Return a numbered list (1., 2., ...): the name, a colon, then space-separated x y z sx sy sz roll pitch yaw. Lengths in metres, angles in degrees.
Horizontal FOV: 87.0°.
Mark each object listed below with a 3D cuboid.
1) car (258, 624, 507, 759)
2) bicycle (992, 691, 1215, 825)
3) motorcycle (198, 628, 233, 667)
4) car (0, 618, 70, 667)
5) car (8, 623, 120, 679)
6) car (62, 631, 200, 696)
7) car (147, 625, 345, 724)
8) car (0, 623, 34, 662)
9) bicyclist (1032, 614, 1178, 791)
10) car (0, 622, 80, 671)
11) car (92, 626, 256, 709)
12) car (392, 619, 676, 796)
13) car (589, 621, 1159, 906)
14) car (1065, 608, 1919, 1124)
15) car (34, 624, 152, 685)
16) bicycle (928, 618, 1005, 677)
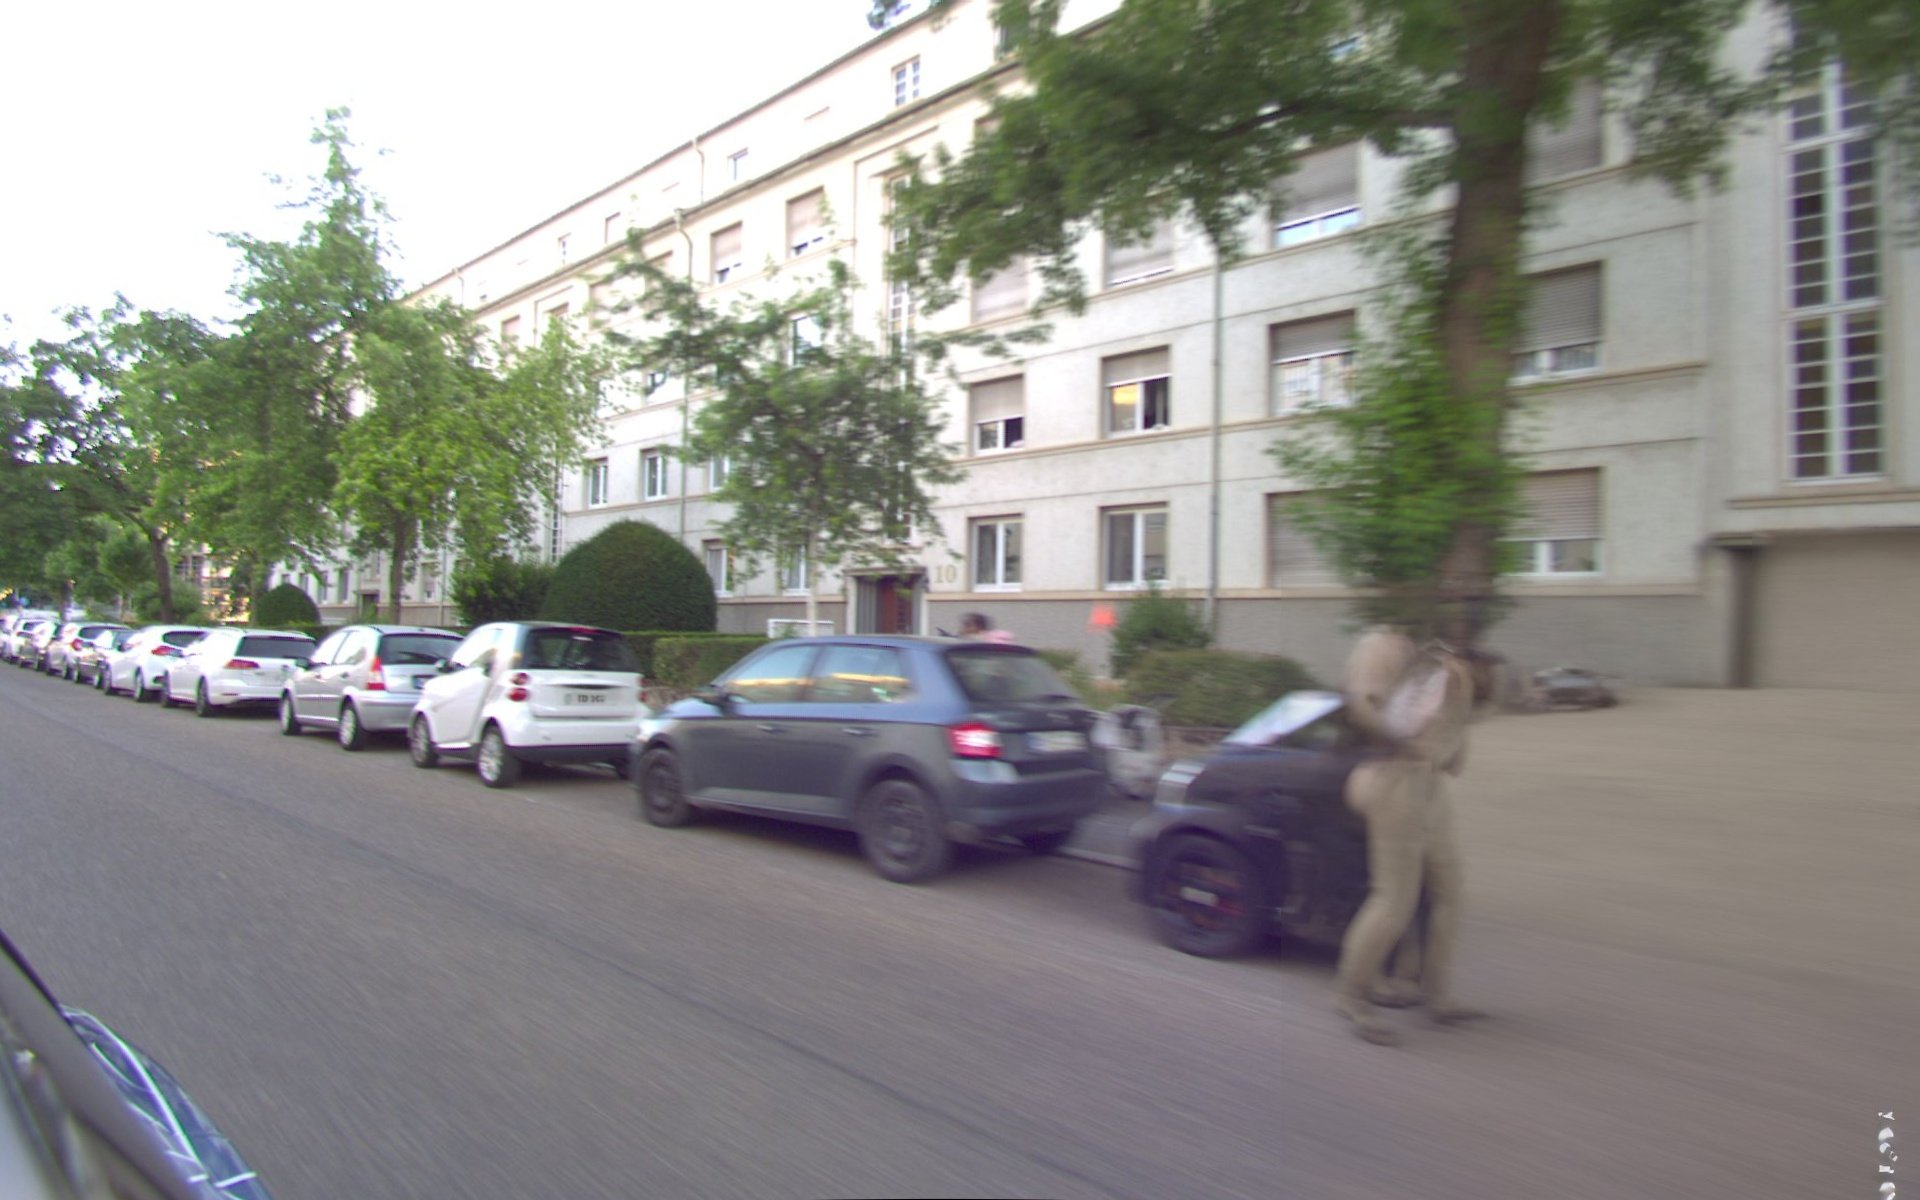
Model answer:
1. car: -7.648 1.131 13.274 3.797 1.516 1.573 -1 -6 41
2. bicycle: 1.204 1.296 8.703 1.761 0.918 0.799 -1 -2 41
3. motorcycle: -26.254 1.671 35.679 1.828 1.335 0.580 -1 -3 42
4. car: -34.314 1.542 37.150 4.104 1.644 1.734 -1 -6 40
5. car: -26.929 1.515 30.365 4.675 1.491 1.735 -1 -6 40
6. car: -19.645 1.468 23.924 4.577 1.342 1.657 -1 -6 41
7. car: -12.342 1.237 17.387 4.481 1.471 1.674 -1 -6 41
8. car: -38.581 1.652 40.533 4.223 1.483 1.733 -1 -6 43
9. bicyclist: 1.250 0.840 8.737 0.973 1.415 0.799 -1 -2 41
10. car: -31.020 1.538 33.971 3.944 1.491 1.733 -1 -6 43
11. car: -15.962 1.333 20.485 4.141 1.471 1.675 -1 -6 40
12. car: -4.460 1.034 10.472 2.921 1.541 1.572 -1 -6 43
13. car: -0.799 0.957 7.269 4.098 1.477 1.574 -1 -6 40
14. car: 2.235 0.875 4.603 3.162 1.541 1.507 -1 -6 40
15. car: -23.245 1.447 27.090 3.701 1.471 1.658 -1 -6 39
16. bicycle: 0.124 1.029 22.102 1.817 1.240 0.550 -1 -3 44
